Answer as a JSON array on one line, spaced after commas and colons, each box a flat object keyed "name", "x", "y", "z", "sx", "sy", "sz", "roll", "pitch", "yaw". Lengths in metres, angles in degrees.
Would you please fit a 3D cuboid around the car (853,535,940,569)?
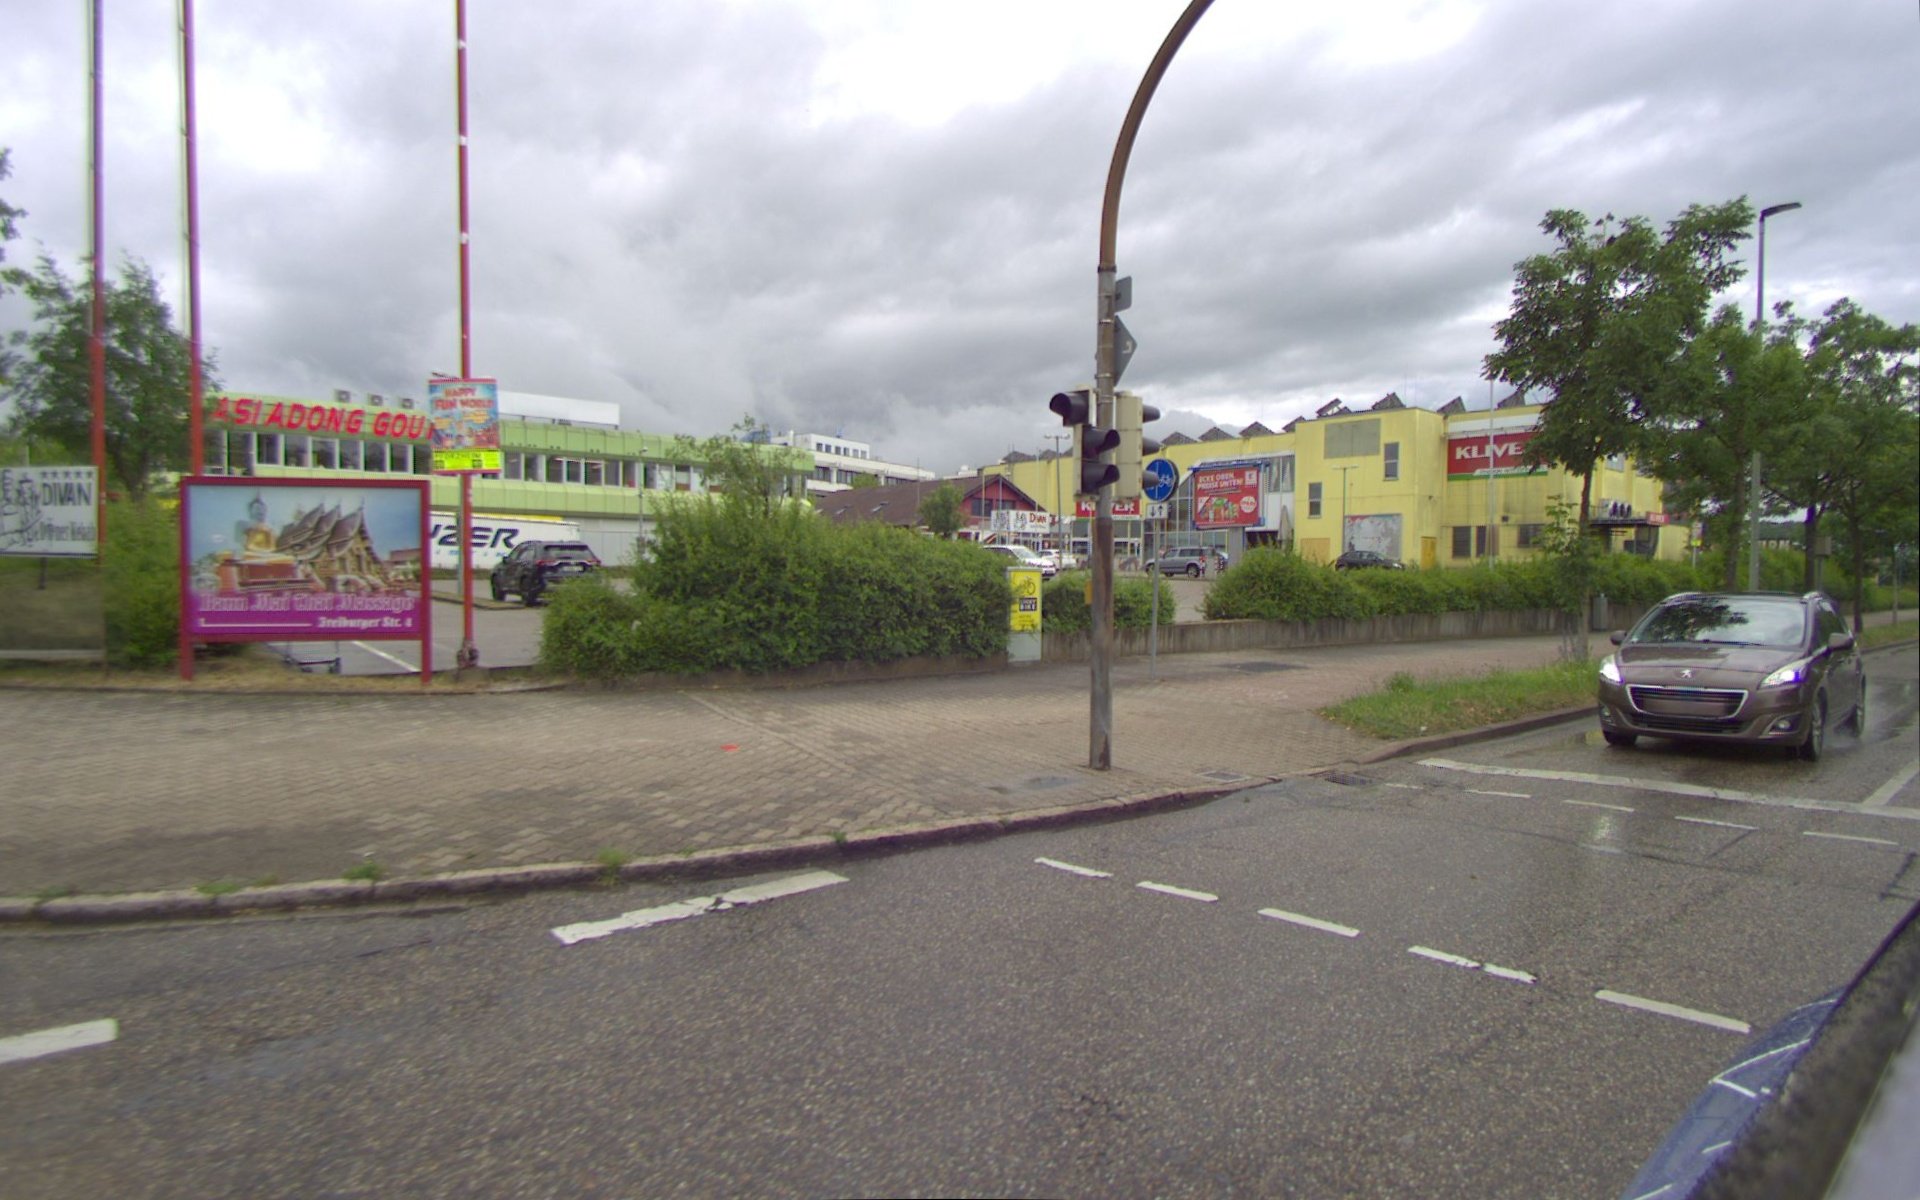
[{"name": "car", "x": -3.661, "y": -2.672, "z": 57.168, "sx": 2.340, "sy": 1.801, "sz": 4.977, "roll": 0, "pitch": 2, "yaw": -42}]

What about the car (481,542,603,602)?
[{"name": "car", "x": -11.032, "y": -0.735, "z": 26.556, "sx": 1.963, "sy": 1.460, "sz": 3.998, "roll": 0, "pitch": 1, "yaw": -38}]

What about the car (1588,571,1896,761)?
[{"name": "car", "x": 8.499, "y": 0.575, "z": 10.856, "sx": 4.392, "sy": 1.645, "sz": 1.729, "roll": 0, "pitch": -1, "yaw": -41}]

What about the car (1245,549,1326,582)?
[{"name": "car", "x": 18.691, "y": -1.998, "z": 58.167, "sx": 1.966, "sy": 1.801, "sz": 3.994, "roll": 0, "pitch": 2, "yaw": -42}]

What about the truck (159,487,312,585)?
[{"name": "truck", "x": -30.967, "y": -2.593, "z": 43.311, "sx": 5.045, "sy": 3.764, "sz": 3.157, "roll": 1, "pitch": -1, "yaw": -40}]

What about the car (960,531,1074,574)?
[{"name": "car", "x": 2.546, "y": -2.137, "z": 46.304, "sx": 2.340, "sy": 1.801, "sz": 4.977, "roll": 0, "pitch": 2, "yaw": -42}]

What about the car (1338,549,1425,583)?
[{"name": "car", "x": 23.505, "y": -1.916, "z": 56.544, "sx": 1.966, "sy": 1.801, "sz": 3.994, "roll": 0, "pitch": 2, "yaw": -42}]

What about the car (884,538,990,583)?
[{"name": "car", "x": -1.021, "y": -1.655, "z": 42.610, "sx": 1.965, "sy": 1.801, "sz": 4.574, "roll": 0, "pitch": 2, "yaw": -42}]

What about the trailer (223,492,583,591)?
[{"name": "trailer", "x": -25.689, "y": -2.490, "z": 47.795, "sx": 14.548, "sy": 3.764, "sz": 3.157, "roll": 1, "pitch": -1, "yaw": -40}]

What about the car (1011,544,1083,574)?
[{"name": "car", "x": 5.455, "y": -2.571, "z": 63.877, "sx": 1.965, "sy": 1.760, "sz": 4.378, "roll": 0, "pitch": 2, "yaw": -41}]

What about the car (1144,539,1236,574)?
[{"name": "car", "x": 12.041, "y": -2.262, "z": 53.077, "sx": 1.965, "sy": 1.760, "sz": 4.378, "roll": 0, "pitch": 2, "yaw": -42}]
